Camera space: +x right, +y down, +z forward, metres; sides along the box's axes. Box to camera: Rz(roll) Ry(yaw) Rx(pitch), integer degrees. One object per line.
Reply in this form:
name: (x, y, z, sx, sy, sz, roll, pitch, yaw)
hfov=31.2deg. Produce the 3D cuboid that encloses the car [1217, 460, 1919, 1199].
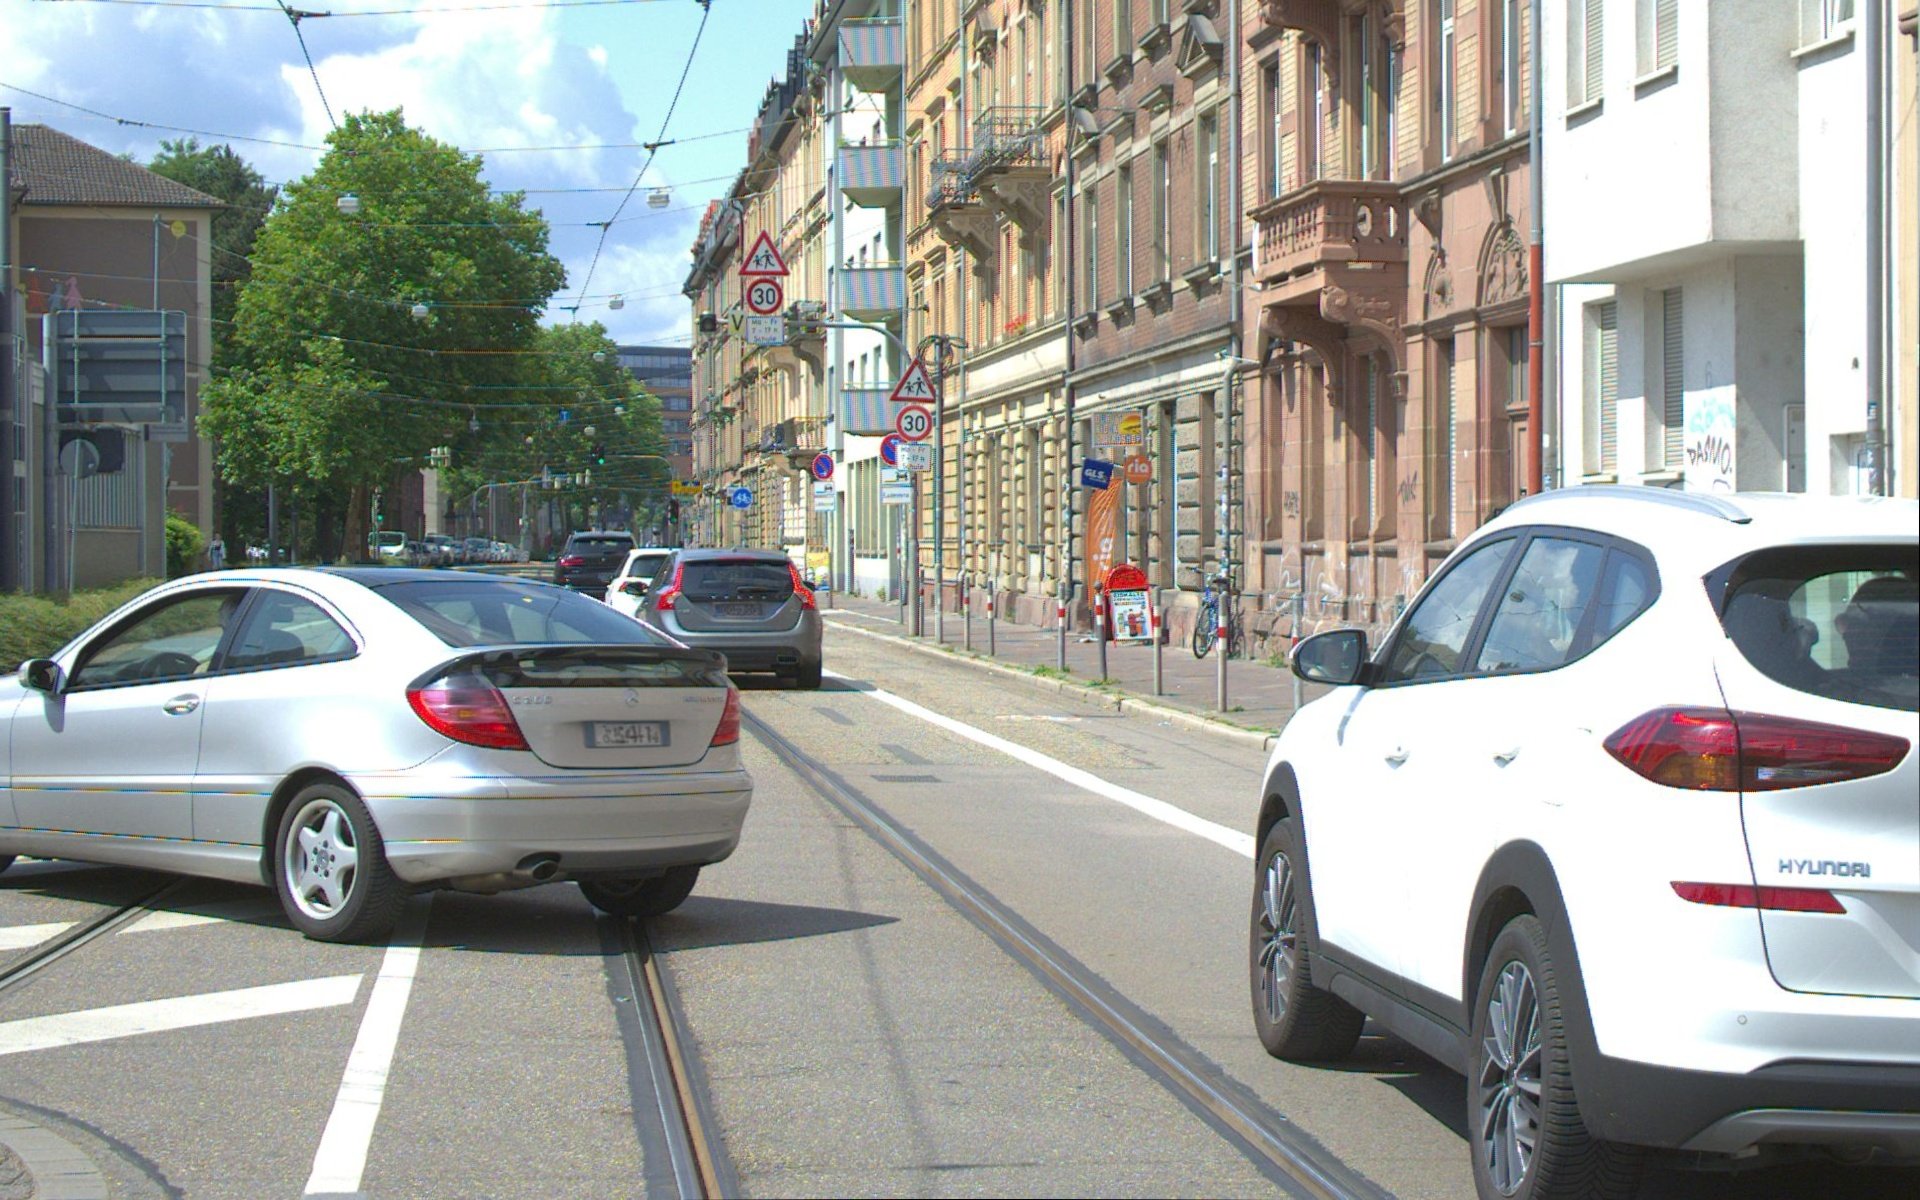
car: (1.888, 0.565, 8.503, 1.852, 1.628, 4.181, 1, 0, -4)

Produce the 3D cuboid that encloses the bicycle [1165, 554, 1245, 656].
bicycle: (2.960, 0.045, 41.704, 0.586, 1.174, 2.205, -1, 1, -6)

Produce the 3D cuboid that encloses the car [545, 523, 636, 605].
car: (-7.735, -0.775, 71.737, 1.814, 1.656, 4.086, 0, 1, -7)

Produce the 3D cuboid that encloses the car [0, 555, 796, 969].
car: (-2.757, 0.535, 14.053, 4.185, 1.415, 1.816, 1, 2, 45)

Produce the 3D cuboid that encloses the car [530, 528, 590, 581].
car: (-14.233, -1.646, 122.254, 1.993, 1.853, 4.001, 0, 1, -8)

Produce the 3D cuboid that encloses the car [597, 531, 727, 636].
car: (-4.556, -0.280, 52.208, 1.814, 1.519, 3.956, 0, 1, -7)

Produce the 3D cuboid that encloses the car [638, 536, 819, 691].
car: (-2.486, 0.095, 36.553, 1.814, 1.519, 4.086, 0, 1, -5)

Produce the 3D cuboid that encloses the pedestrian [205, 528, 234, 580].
pedestrian: (-26.706, -1.674, 123.990, 0.880, 1.859, 1.081, -1, 1, -7)
